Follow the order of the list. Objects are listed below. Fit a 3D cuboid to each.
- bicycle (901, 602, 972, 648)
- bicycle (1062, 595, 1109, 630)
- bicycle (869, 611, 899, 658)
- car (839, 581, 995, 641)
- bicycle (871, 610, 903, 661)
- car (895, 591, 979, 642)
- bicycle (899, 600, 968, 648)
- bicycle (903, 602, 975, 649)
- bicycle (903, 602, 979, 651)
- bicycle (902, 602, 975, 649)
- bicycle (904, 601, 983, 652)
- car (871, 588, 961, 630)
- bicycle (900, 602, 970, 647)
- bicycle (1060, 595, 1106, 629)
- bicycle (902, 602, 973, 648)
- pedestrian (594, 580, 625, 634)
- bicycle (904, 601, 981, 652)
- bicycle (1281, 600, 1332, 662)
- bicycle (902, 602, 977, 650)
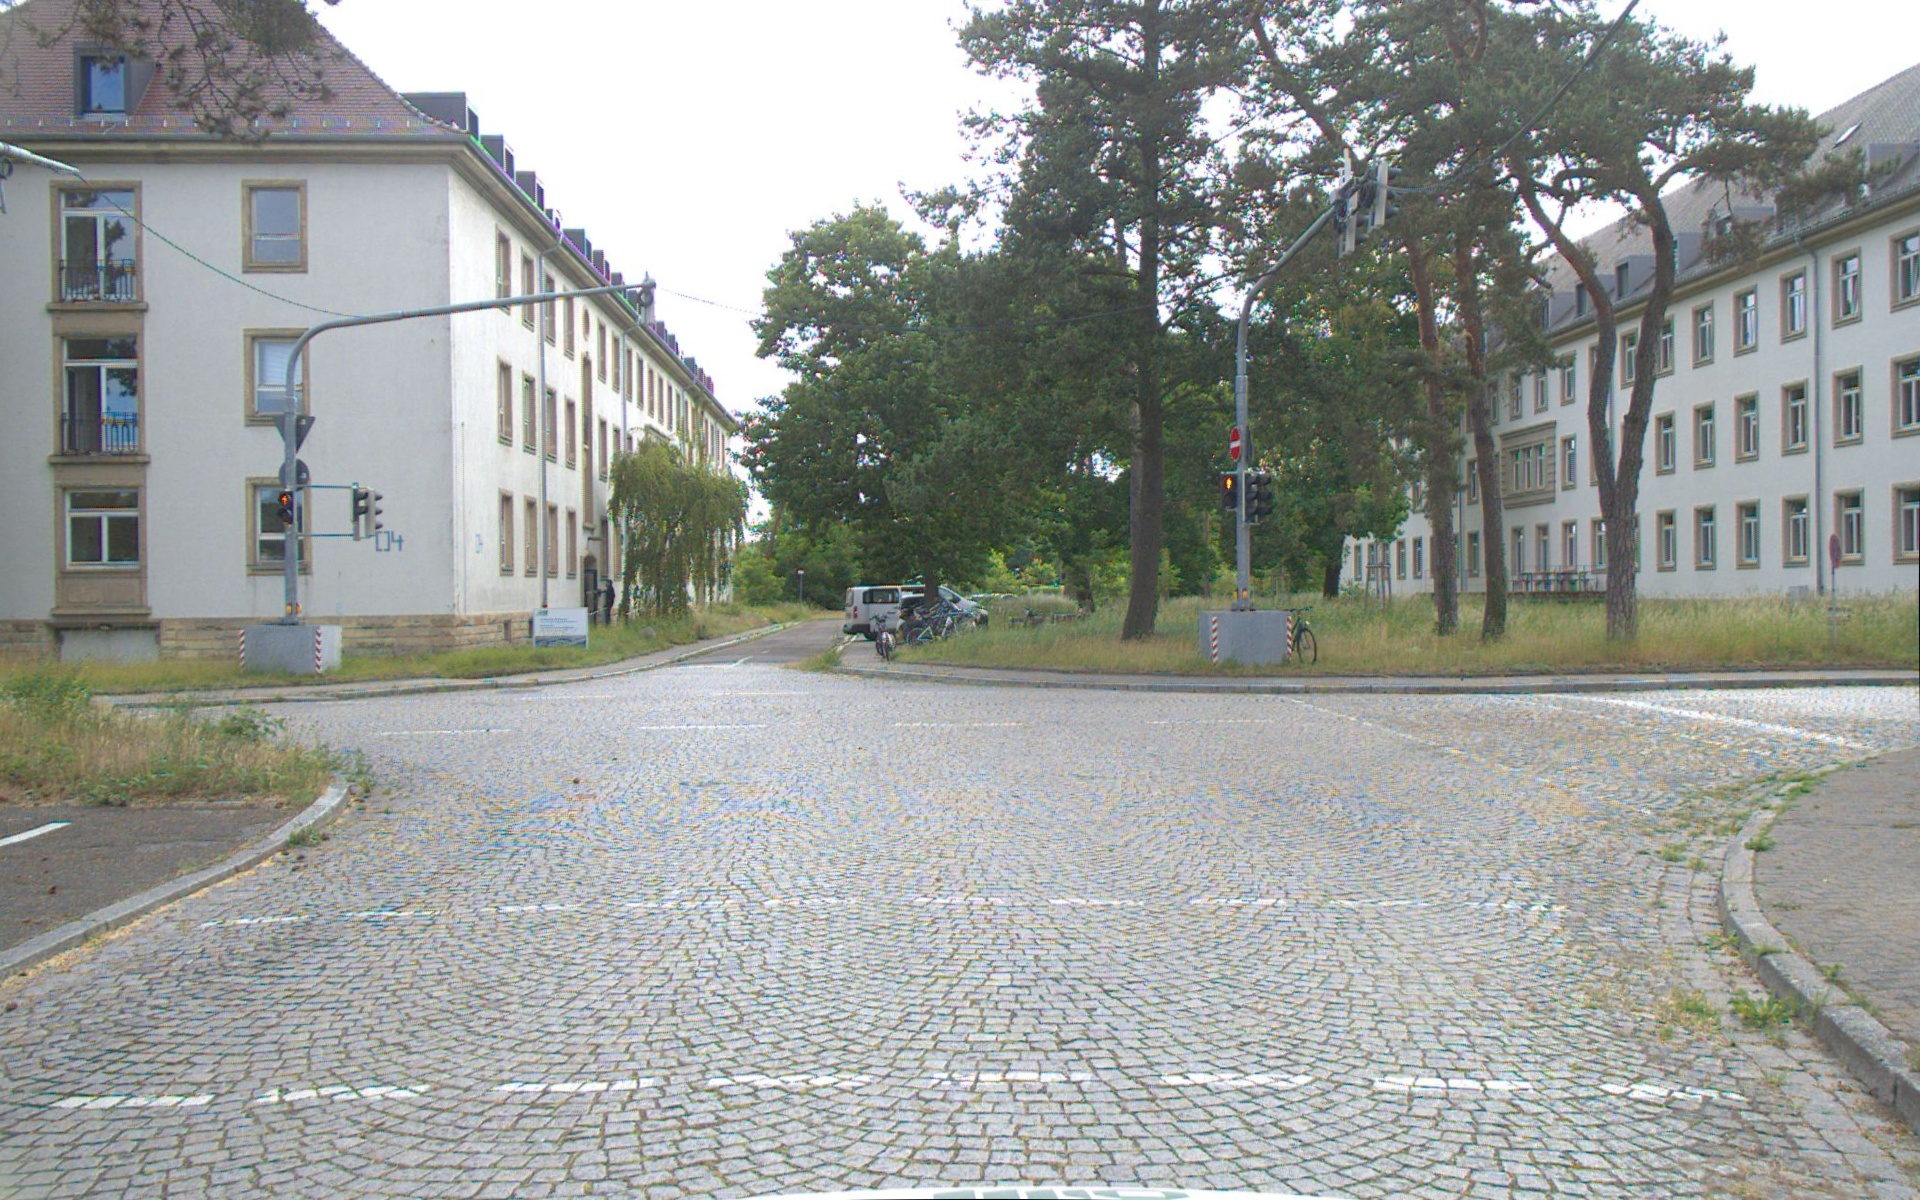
[{"bbox_3d":[-0.652,0.684,46.139,1.943,1.269,0.624,0,0,-4],"label":"bicycle"},{"bbox_3d":[4.176,0.409,55.254,1.517,1.144,0.401,-1,0,-1],"label":"bicycle"},{"bbox_3d":[-1.831,0.815,40.014,0.609,1.101,1.678,0,0,2],"label":"bicycle"},{"bbox_3d":[-1.558,0.374,59.558,5.220,1.949,2.140,-2,0,-17],"label":"car"},{"bbox_3d":[-1.672,0.794,38.065,0.609,1.133,1.989,0,0,1],"label":"bicycle"},{"bbox_3d":[-0.798,0.547,56.111,2.791,1.585,1.471,-2,1,-3],"label":"car"},{"bbox_3d":[-0.772,0.689,47.801,1.943,1.269,0.624,-3,0,-4],"label":"bicycle"},{"bbox_3d":[-0.584,0.681,45.063,1.943,1.269,0.624,0,0,-4],"label":"bicycle"},{"bbox_3d":[-0.507,0.676,43.047,1.943,1.269,0.624,0,0,-4],"label":"bicycle"},{"bbox_3d":[-0.574,0.680,44.538,1.943,1.269,0.624,0,0,-4],"label":"bicycle"},{"bbox_3d":[-0.418,0.672,41.495,1.943,1.269,0.624,0,0,-4],"label":"bicycle"},{"bbox_3d":[-1.968,0.385,73.435,3.951,1.748,1.680,-1,0,-4],"label":"car"},{"bbox_3d":[-0.699,0.686,46.650,1.943,1.269,0.624,0,0,-4],"label":"bicycle"},{"bbox_3d":[4.193,0.410,56.486,1.517,1.144,0.401,-1,0,-1],"label":"bicycle"},{"bbox_3d":[-0.619,0.683,45.512,1.943,1.269,0.624,0,0,-4],"label":"bicycle"},{"bbox_3d":[-12.059,0.236,56.936,0.820,1.812,0.941,-1,0,3],"label":"pedestrian"},{"bbox_3d":[-0.448,0.673,42.123,1.943,1.269,0.624,0,0,-4],"label":"bicycle"},{"bbox_3d":[6.133,0.530,29.339,0.568,0.987,1.678,-3,2,2],"label":"bicycle"},{"bbox_3d":[-0.549,0.678,43.905,1.943,1.269,0.624,0,0,-4],"label":"bicycle"}]
